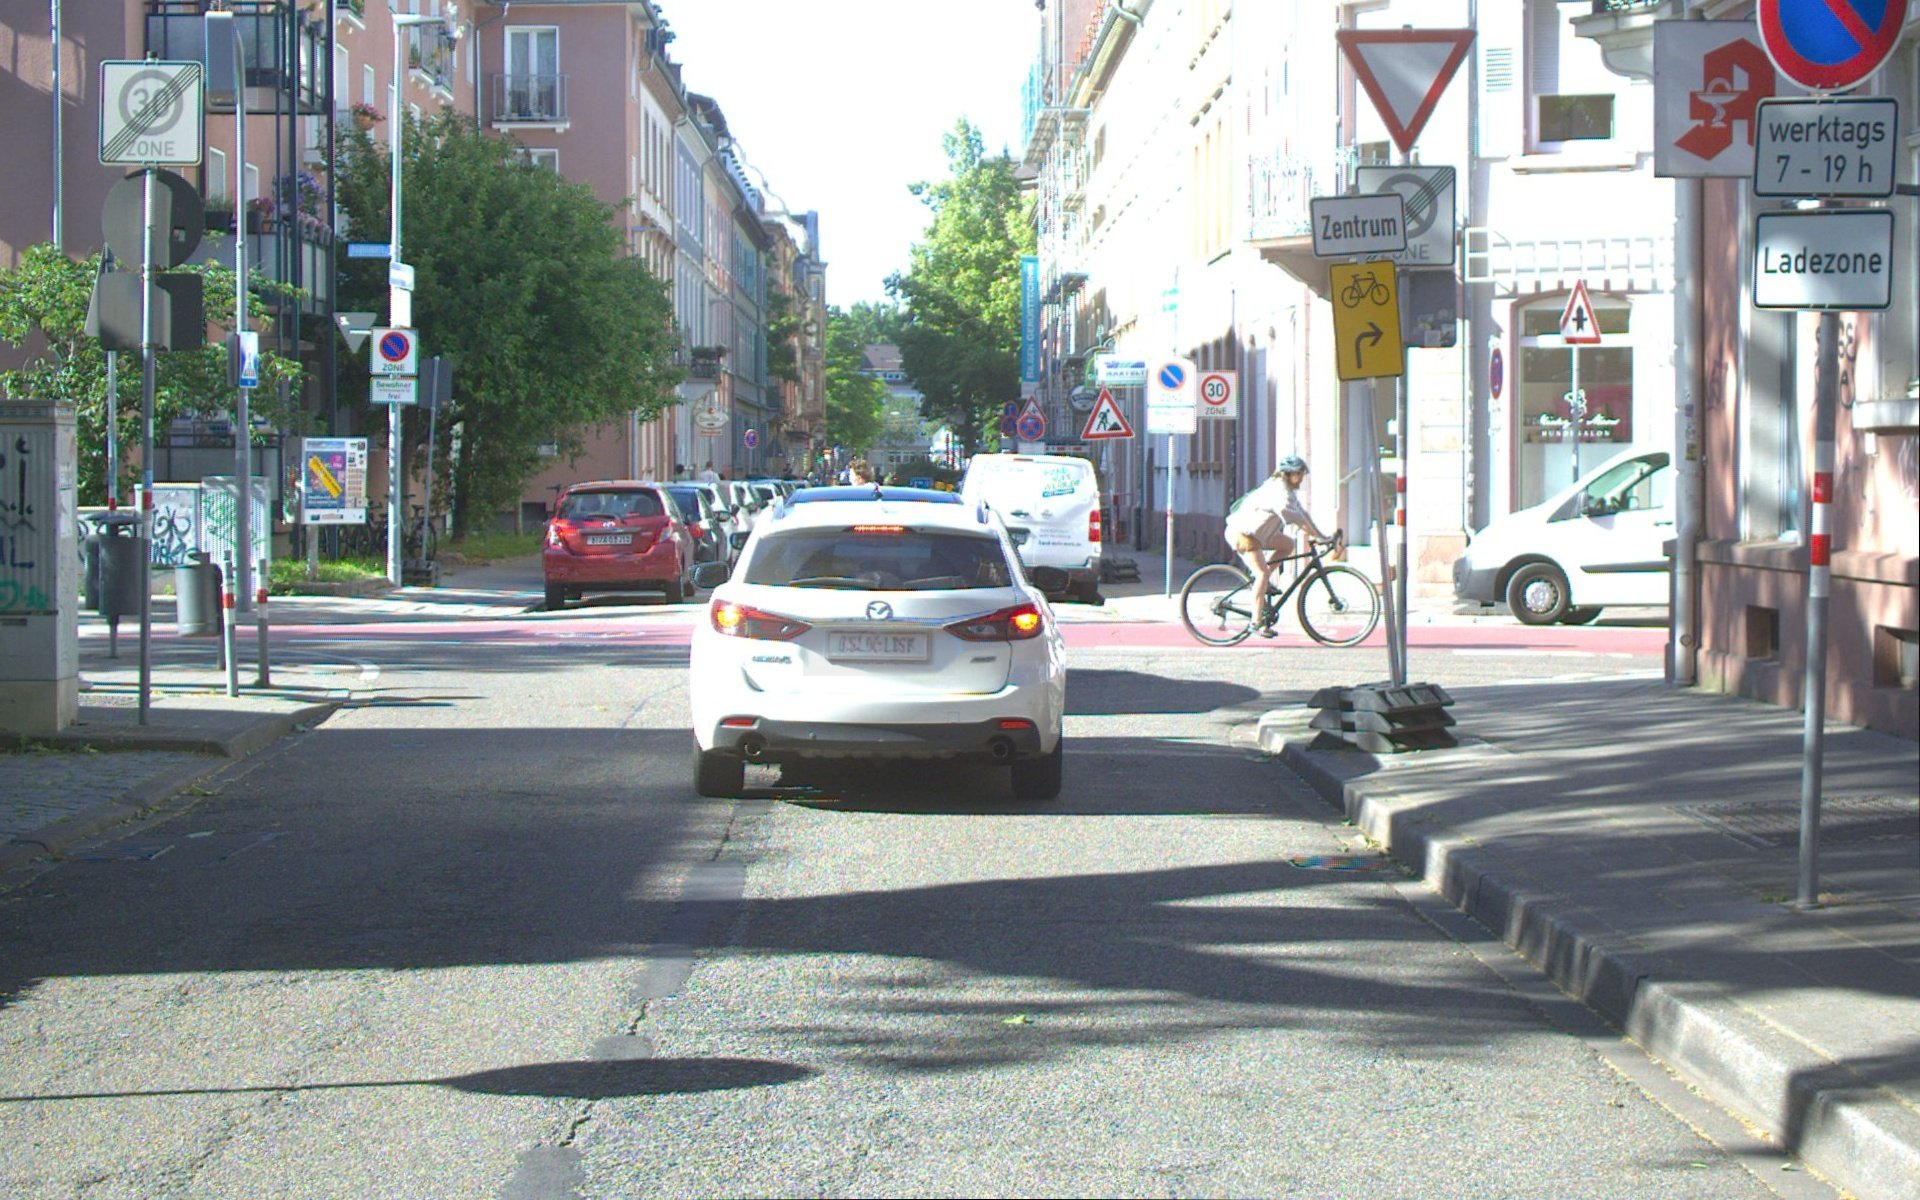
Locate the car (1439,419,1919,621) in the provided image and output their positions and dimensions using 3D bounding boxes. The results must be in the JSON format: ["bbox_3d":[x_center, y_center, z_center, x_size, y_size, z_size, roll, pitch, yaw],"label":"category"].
[{"bbox_3d":[7.484,-0.800,34.568,4.896,1.922,1.997,1,0,24],"label":"car"}]

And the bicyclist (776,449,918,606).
[{"bbox_3d":[-1.101,-0.712,33.679,1.196,1.511,0.840,0,1,15],"label":"bicyclist"}]

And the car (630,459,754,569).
[{"bbox_3d":[-4.149,-1.347,53.733,1.635,1.650,3.785,0,2,0],"label":"car"}]

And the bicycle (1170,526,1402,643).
[{"bbox_3d":[2.801,-0.141,29.658,1.927,0.982,0.663,0,1,-1],"label":"bicycle"}]

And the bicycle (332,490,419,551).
[{"bbox_3d":[-9.173,-1.250,53.888,0.603,0.929,1.915,-1,2,-34],"label":"bicycle"}]

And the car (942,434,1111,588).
[{"bbox_3d":[0.839,-1.209,45.857,1.942,1.941,4.079,1,2,-3],"label":"car"}]

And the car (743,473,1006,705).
[{"bbox_3d":[-0.592,-0.137,23.916,1.682,1.476,3.661,0,2,-1],"label":"car"}]

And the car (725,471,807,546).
[{"bbox_3d":[-4.206,-1.989,74.833,1.572,1.579,3.611,0,2,0],"label":"car"}]

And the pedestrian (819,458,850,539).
[{"bbox_3d":[-2.797,-2.251,76.512,0.647,1.790,0.639,0,1,0],"label":"pedestrian"}]

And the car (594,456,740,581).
[{"bbox_3d":[-4.074,-1.162,48.221,1.720,1.677,3.726,0,2,0],"label":"car"}]

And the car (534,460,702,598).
[{"bbox_3d":[-4.192,-0.915,42.626,1.769,1.583,3.727,0,3,-1],"label":"car"}]

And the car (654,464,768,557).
[{"bbox_3d":[-4.356,-1.573,60.515,1.720,1.571,3.726,0,2,0],"label":"car"}]

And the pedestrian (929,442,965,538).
[{"bbox_3d":[-0.286,-2.426,75.824,0.771,2.110,0.835,0,1,0],"label":"pedestrian"}]

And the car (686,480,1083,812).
[{"bbox_3d":[-0.395,0.149,17.776,1.823,1.509,3.824,0,2,-1],"label":"car"}]

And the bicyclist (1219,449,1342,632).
[{"bbox_3d":[2.758,-0.517,29.647,0.983,1.547,0.761,0,1,0],"label":"bicyclist"}]

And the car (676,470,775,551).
[{"bbox_3d":[-4.370,-1.683,64.526,1.602,1.472,3.568,0,2,0],"label":"car"}]
